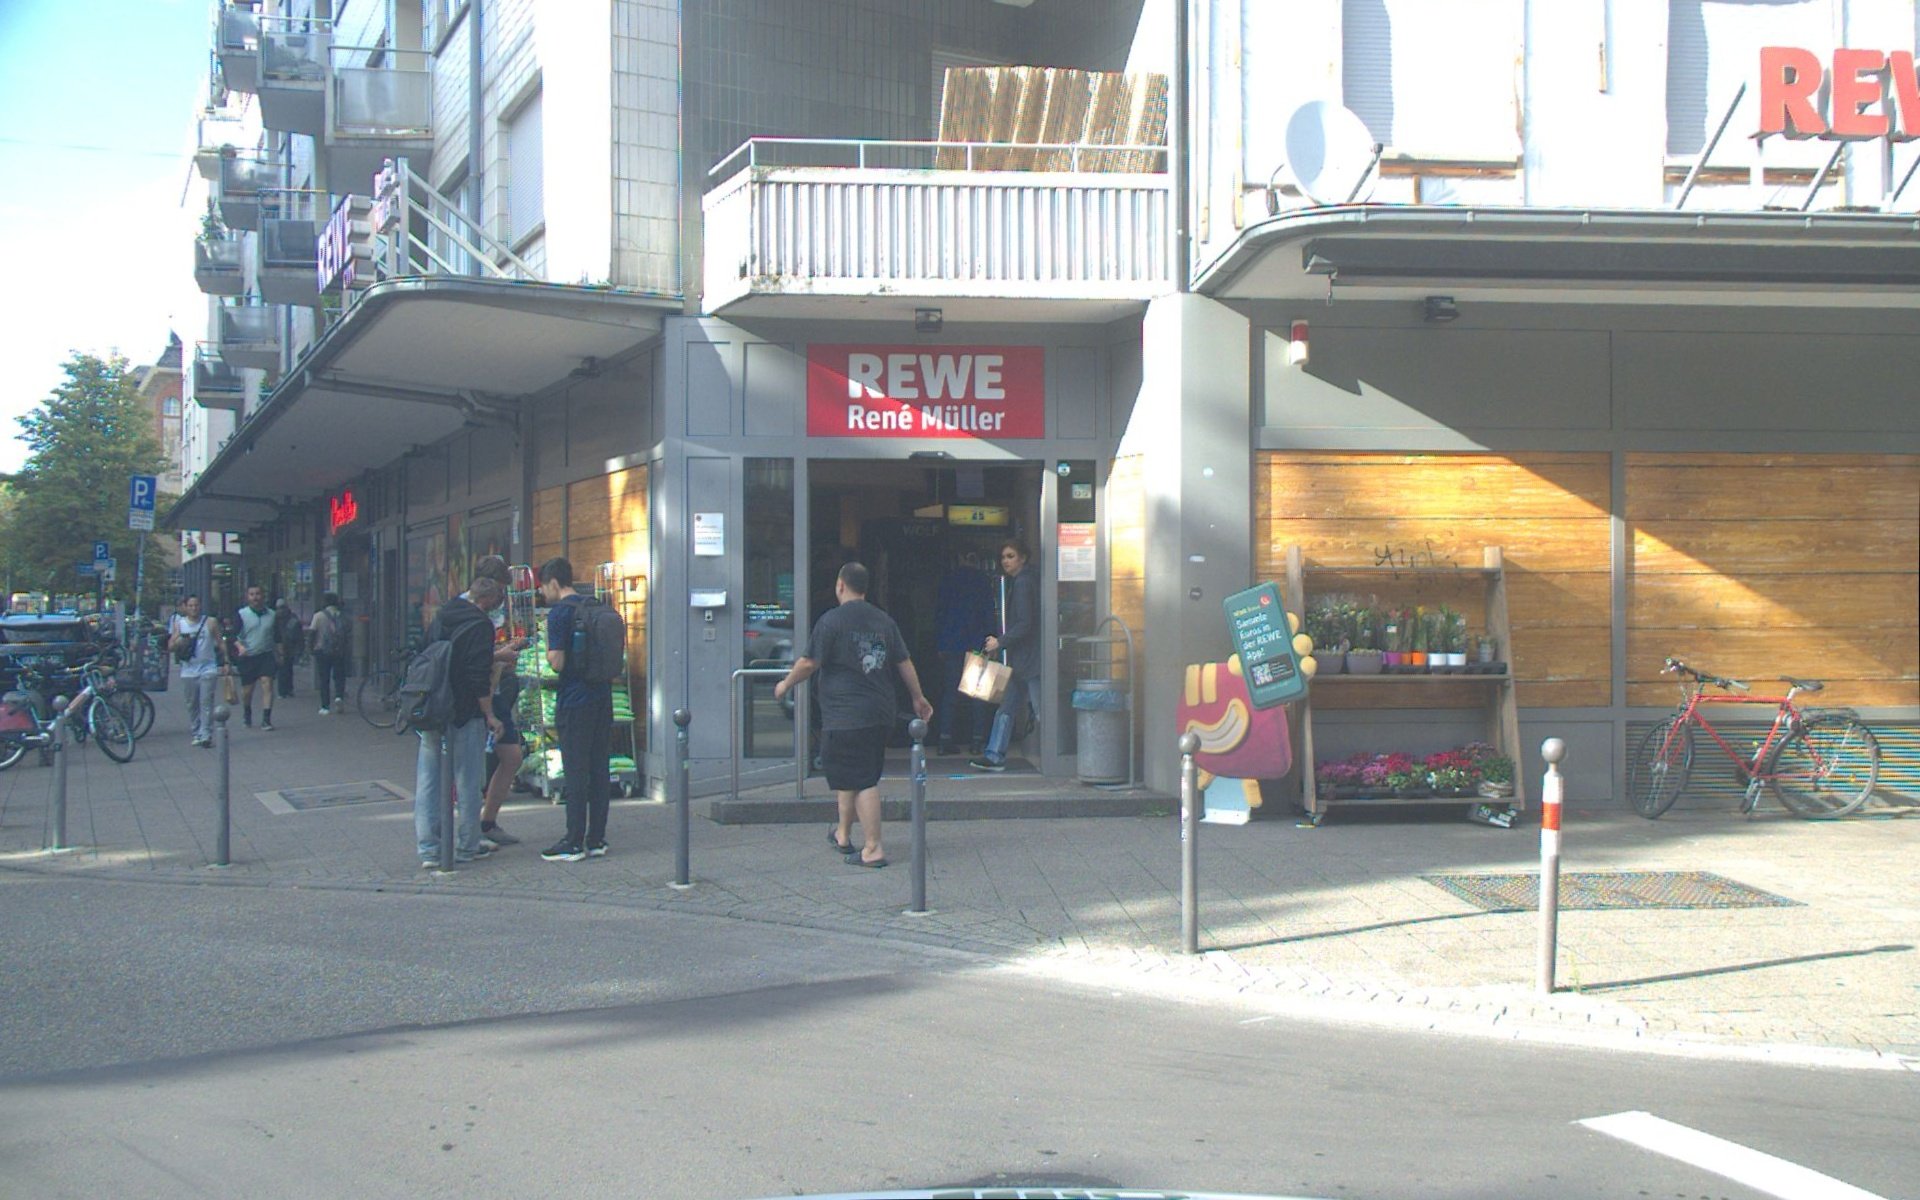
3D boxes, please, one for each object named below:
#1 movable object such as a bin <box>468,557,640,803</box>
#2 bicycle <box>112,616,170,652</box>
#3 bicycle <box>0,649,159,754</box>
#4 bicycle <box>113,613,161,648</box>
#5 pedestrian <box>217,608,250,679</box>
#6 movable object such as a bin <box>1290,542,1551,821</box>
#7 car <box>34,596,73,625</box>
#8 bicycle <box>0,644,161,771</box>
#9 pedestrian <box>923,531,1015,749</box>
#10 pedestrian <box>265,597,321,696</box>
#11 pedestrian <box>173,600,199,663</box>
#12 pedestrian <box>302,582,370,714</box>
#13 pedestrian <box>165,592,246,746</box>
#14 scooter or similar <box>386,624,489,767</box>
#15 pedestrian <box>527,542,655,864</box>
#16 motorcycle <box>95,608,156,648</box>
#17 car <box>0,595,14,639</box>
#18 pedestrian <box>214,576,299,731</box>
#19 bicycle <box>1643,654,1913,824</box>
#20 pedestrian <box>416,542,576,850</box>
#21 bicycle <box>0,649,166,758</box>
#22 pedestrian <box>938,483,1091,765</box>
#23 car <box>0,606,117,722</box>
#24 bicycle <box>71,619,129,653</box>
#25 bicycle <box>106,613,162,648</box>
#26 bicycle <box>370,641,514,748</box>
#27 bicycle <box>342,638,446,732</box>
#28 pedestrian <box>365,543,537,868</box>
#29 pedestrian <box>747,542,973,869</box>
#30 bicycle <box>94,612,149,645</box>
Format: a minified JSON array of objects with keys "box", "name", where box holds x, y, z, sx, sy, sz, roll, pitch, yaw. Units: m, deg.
[{"box":[-3.275,0.582,13.156,0.771,1.775,2.400,0,0,-28],"name":"movable object such as a bin"},{"box":[-28.454,1.173,57.482,1.744,1.182,0.644,-2,1,-27],"name":"bicycle"},{"box":[-10.466,1.172,19.453,1.776,1.089,0.578,-2,2,-39],"name":"bicycle"},{"box":[-29.386,1.094,59.039,1.479,1.166,0.407,-2,1,-29],"name":"bicycle"},{"box":[-16.867,0.998,38.387,0.636,1.616,0.774,-2,0,-27],"name":"pedestrian"},{"box":[3.039,0.507,10.984,1.514,1.785,0.690,0,2,-6],"name":"movable object such as a bin"},{"box":[-53.387,0.619,97.467,1.908,1.667,3.963,2,-1,-28],"name":"car"},{"box":[-9.247,1.082,16.888,1.863,1.145,0.898,-3,1,-31],"name":"bicycle"},{"box":[0.081,0.326,13.956,0.747,1.784,0.930,0,0,1],"name":"pedestrian"},{"box":[-11.220,0.771,27.808,0.814,1.616,0.774,0,-1,-27],"name":"pedestrian"},{"box":[-22.112,0.881,47.248,0.605,1.756,1.116,0,0,-27],"name":"pedestrian"},{"box":[-8.740,0.652,23.161,0.706,1.777,0.809,-3,1,-30],"name":"pedestrian"},{"box":[-8.613,0.776,18.864,0.792,1.700,1.013,0,-2,-27],"name":"pedestrian"},{"box":[-4.919,0.867,15.536,0.625,1.234,1.243,-2,1,-31],"name":"scooter or similar"},{"box":[-2.220,0.582,9.911,0.642,1.828,0.656,-3,2,-16],"name":"pedestrian"},{"box":[-34.374,1.151,68.153,2.122,1.557,0.681,-2,1,-24],"name":"motorcycle"},{"box":[-46.479,0.779,79.348,1.762,2.055,3.850,2,-1,-29],"name":"car"},{"box":[-8.876,0.654,20.899,0.871,1.866,1.040,-2,0,-21],"name":"pedestrian"},{"box":[5.404,0.906,10.994,1.498,1.051,0.583,0,1,6],"name":"bicycle"},{"box":[-2.866,0.571,10.268,0.697,1.828,0.633,-2,2,4],"name":"pedestrian"},{"box":[-10.099,1.165,18.883,1.776,1.089,0.561,-2,2,-39],"name":"bicycle"},{"box":[0.427,0.167,12.535,1.009,2.048,0.864,0,1,11],"name":"pedestrian"},{"box":[-14.450,0.950,26.319,1.772,1.633,3.888,-3,1,-27],"name":"car"},{"box":[-29.749,1.250,57.223,1.750,1.075,0.406,-3,1,-34],"name":"bicycle"},{"box":[-29.705,1.103,59.472,1.750,1.166,0.406,-3,1,-35],"name":"bicycle"},{"box":[-5.447,0.970,17.349,1.703,1.061,0.674,-2,-1,42],"name":"bicycle"},{"box":[-6.933,1.013,20.217,0.735,1.033,1.762,-3,1,-34],"name":"bicycle"},{"box":[-2.978,0.594,9.730,0.617,1.828,0.715,-2,2,13],"name":"pedestrian"},{"box":[-0.598,0.571,9.728,0.843,1.777,1.034,-3,1,-38],"name":"pedestrian"},{"box":[-31.846,1.085,62.836,1.758,1.179,0.500,-2,1,-3],"name":"bicycle"}]
